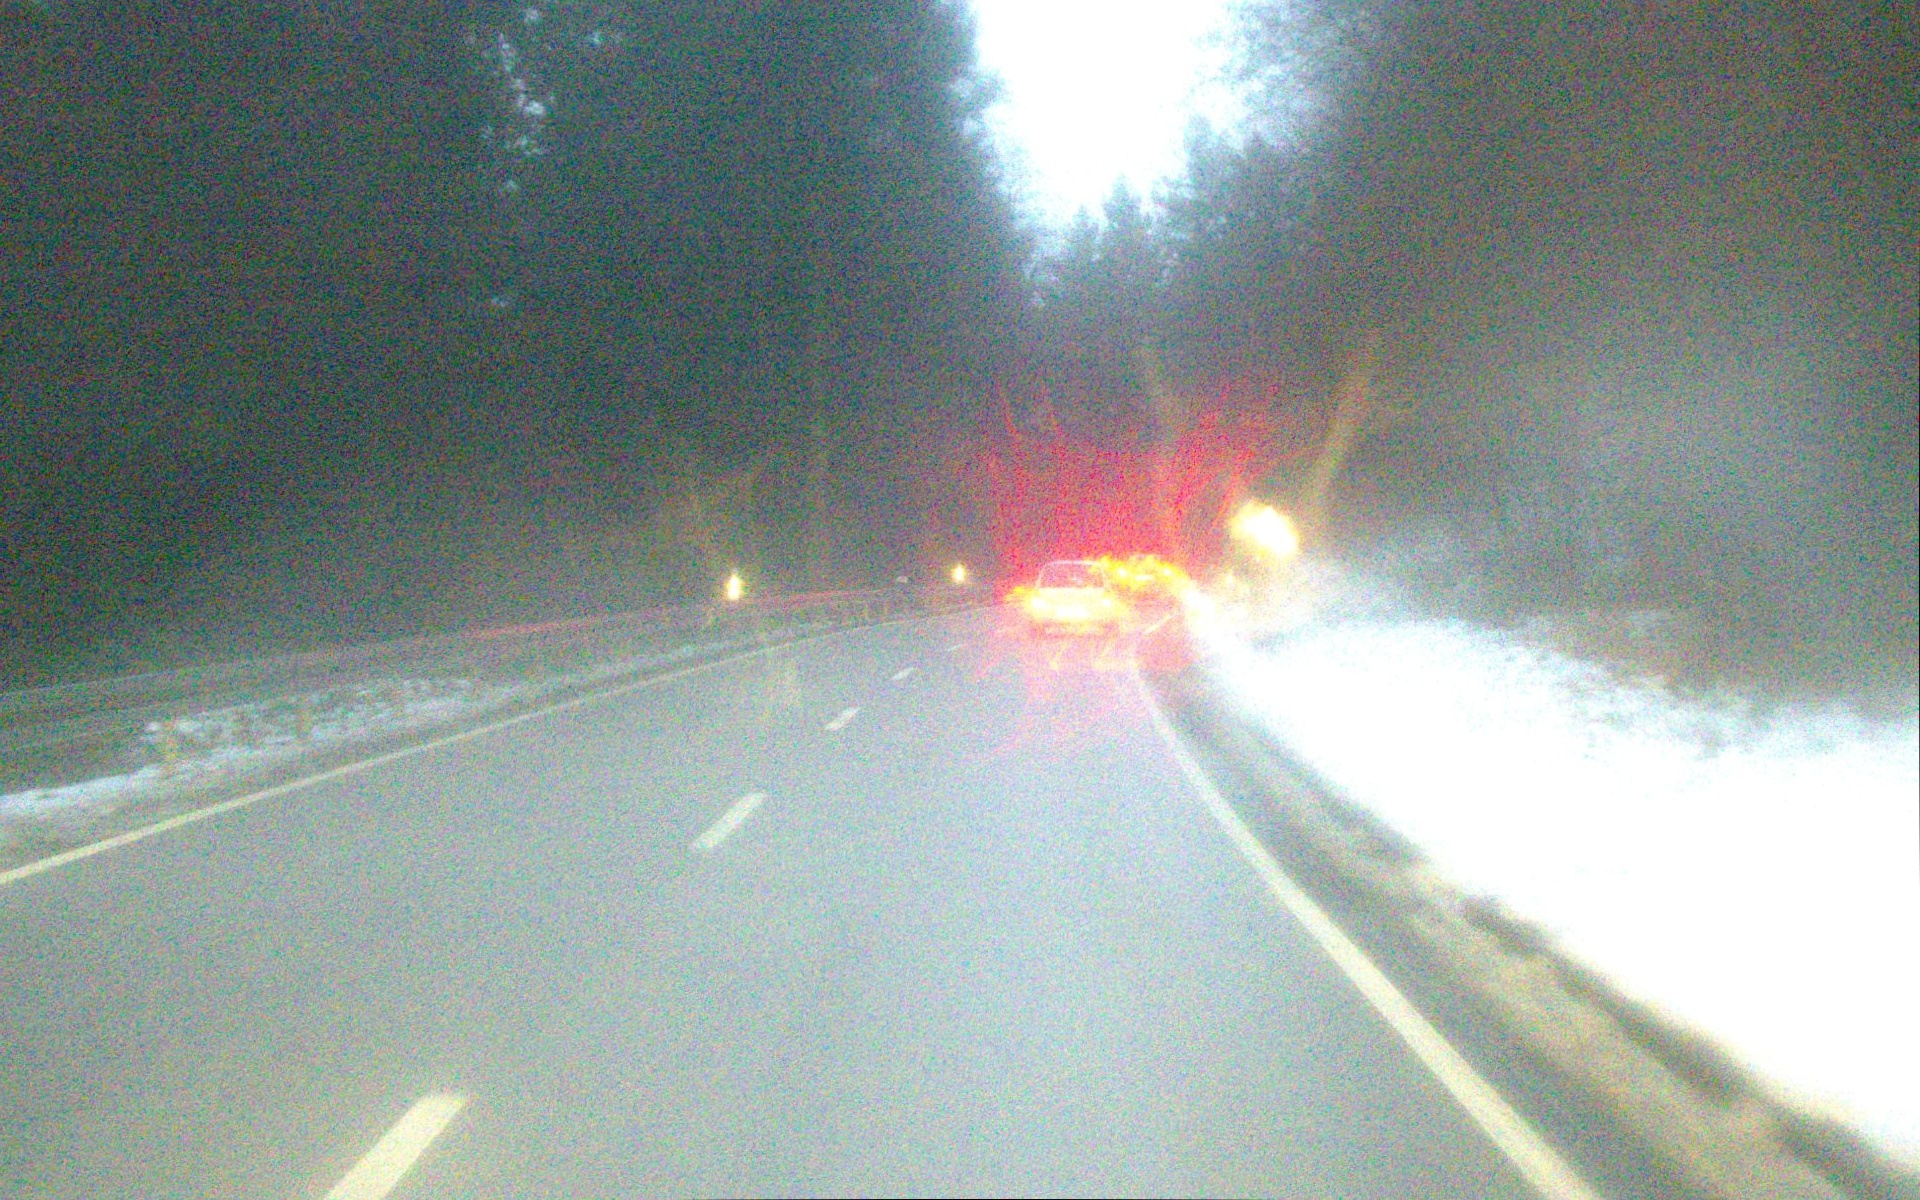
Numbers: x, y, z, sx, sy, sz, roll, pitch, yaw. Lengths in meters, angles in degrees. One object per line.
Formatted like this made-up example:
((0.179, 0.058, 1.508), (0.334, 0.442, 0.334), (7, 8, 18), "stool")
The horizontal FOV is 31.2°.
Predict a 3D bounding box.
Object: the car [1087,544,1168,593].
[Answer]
((4.907, -0.925, 101.155), (1.993, 1.305, 4.000), (-3, 1, -1), "car")

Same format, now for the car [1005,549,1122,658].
((1.976, 0.040, 64.520), (1.994, 1.866, 4.000), (-3, 1, 3), "car")
